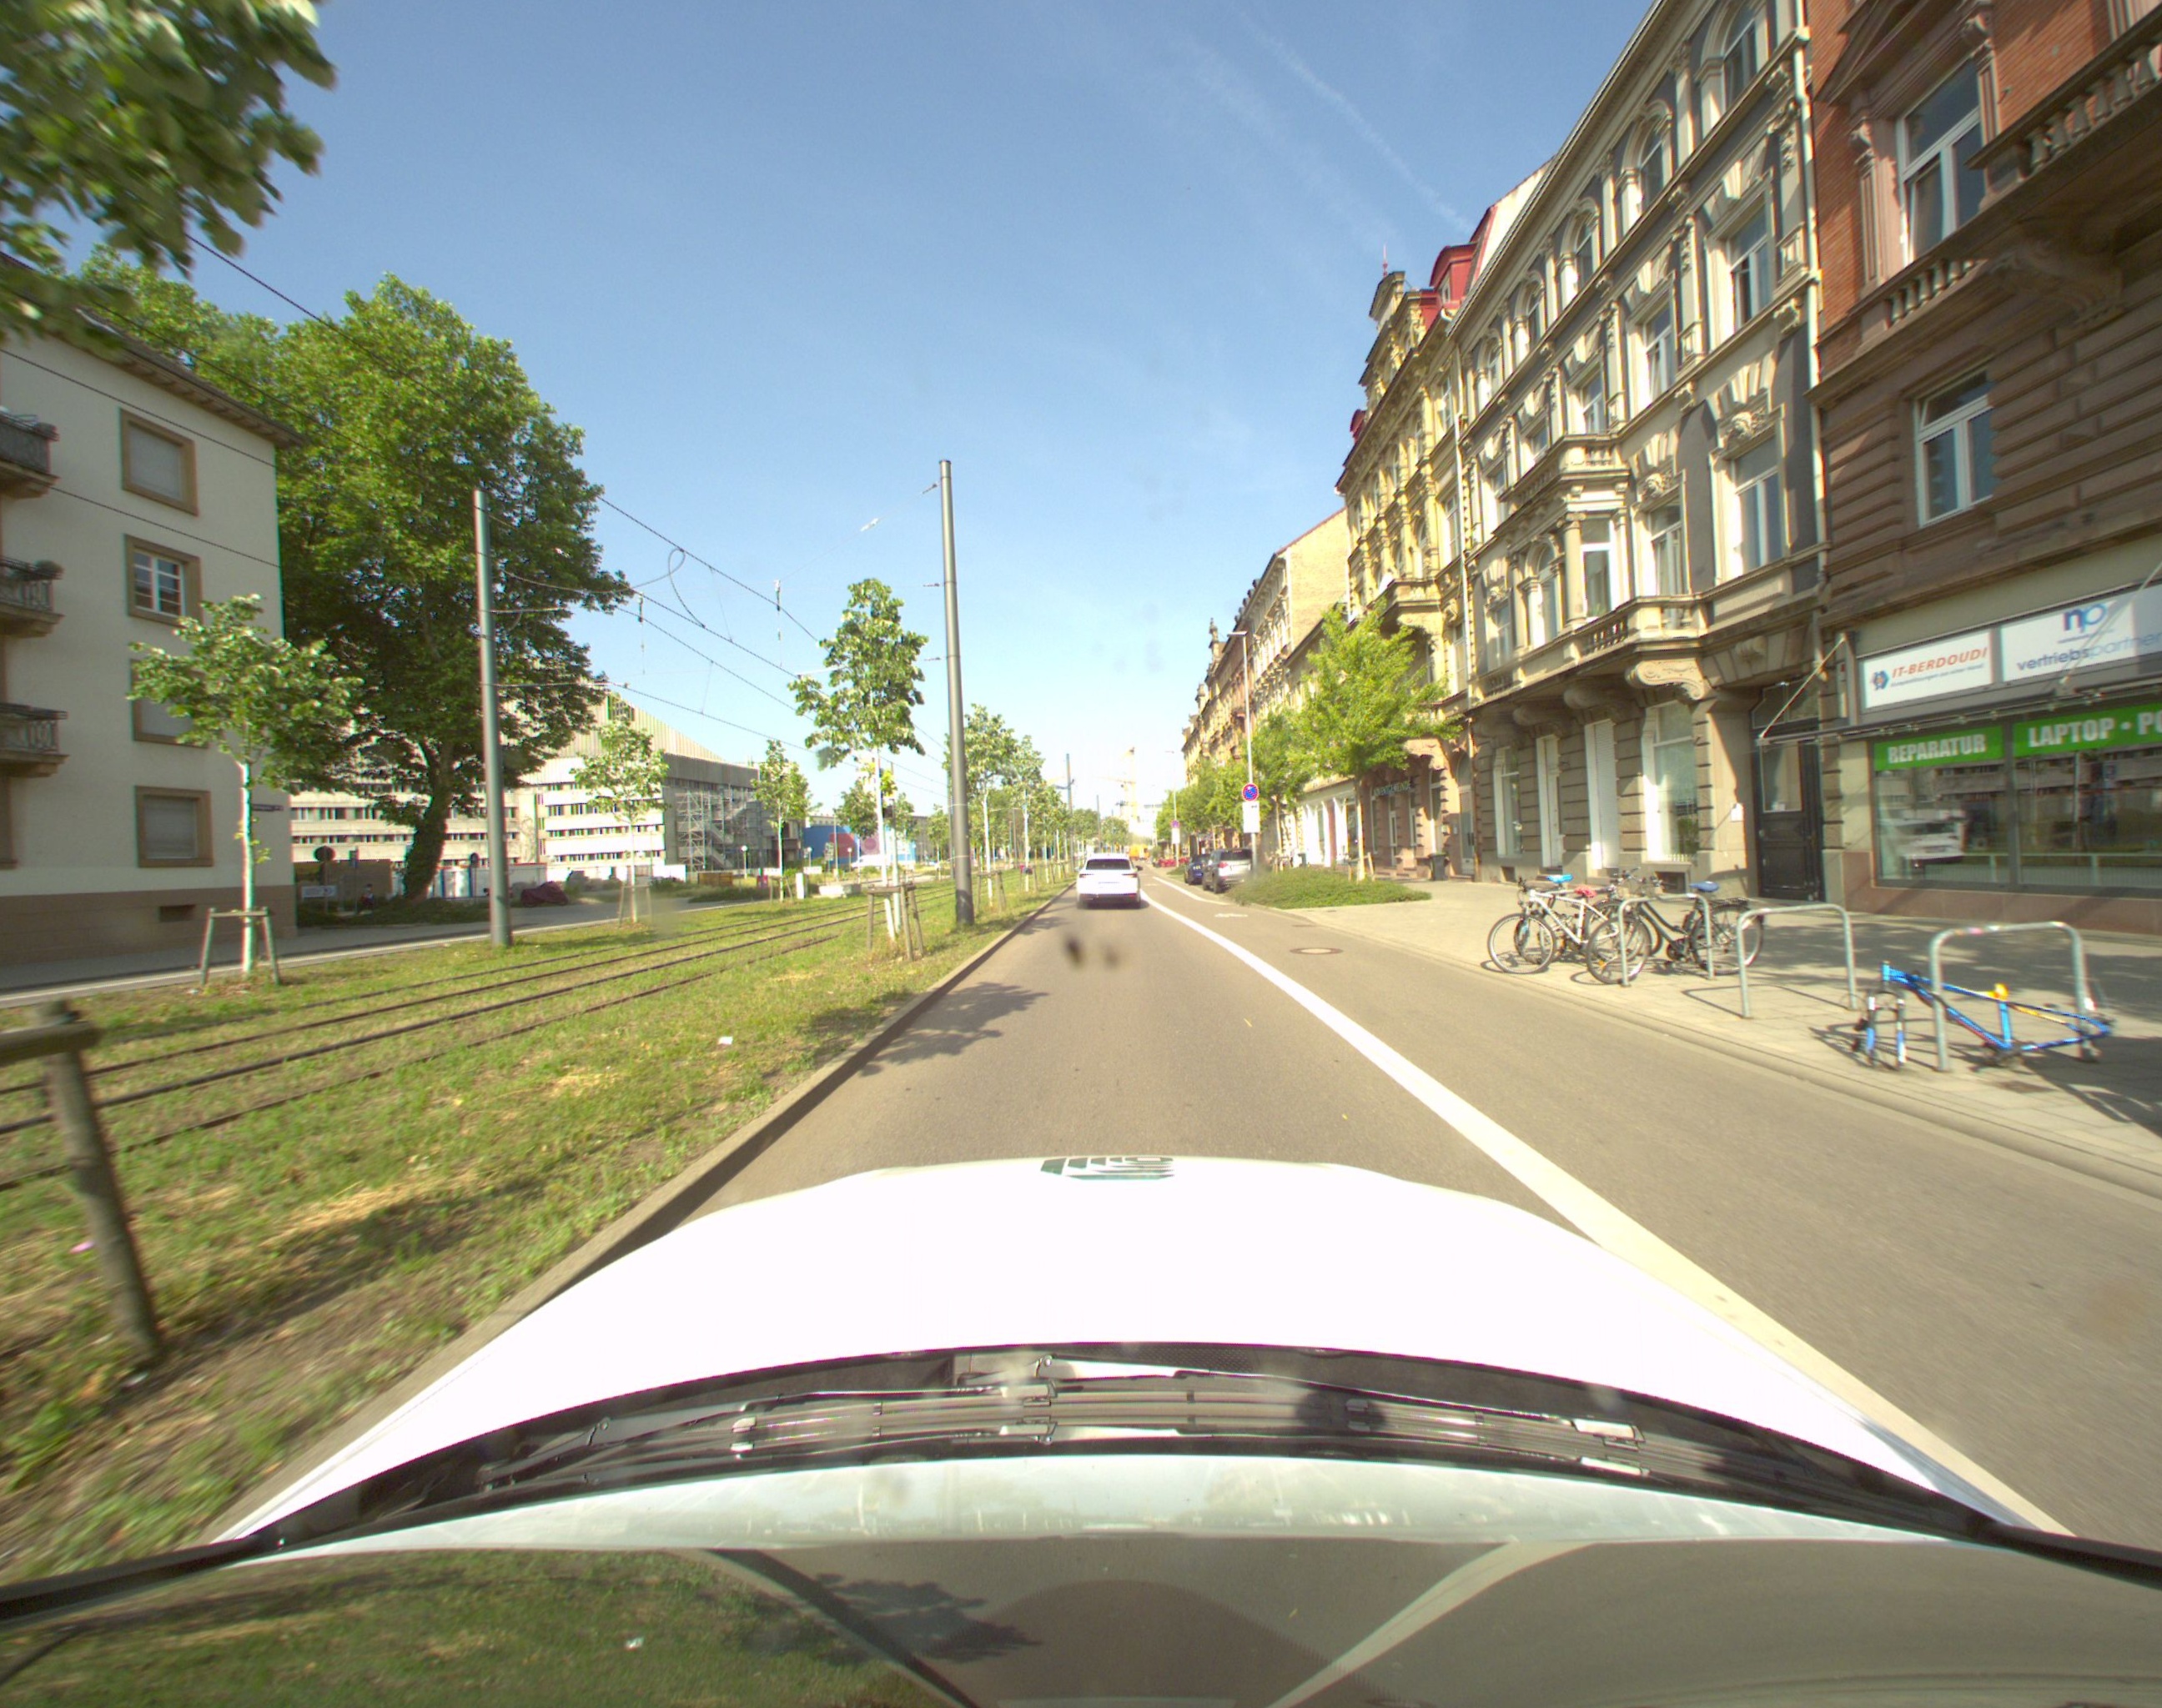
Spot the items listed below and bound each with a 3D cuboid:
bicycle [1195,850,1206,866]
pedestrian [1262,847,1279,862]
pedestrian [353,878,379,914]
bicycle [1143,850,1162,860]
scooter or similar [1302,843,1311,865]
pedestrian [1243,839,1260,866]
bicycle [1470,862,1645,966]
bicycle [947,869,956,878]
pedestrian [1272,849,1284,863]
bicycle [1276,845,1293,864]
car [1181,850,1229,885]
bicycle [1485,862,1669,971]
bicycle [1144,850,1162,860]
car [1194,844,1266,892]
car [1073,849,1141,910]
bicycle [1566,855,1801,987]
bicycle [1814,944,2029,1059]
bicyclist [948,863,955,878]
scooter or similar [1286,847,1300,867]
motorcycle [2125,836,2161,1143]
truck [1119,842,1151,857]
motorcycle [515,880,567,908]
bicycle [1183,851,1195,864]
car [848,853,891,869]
[{"bbox_3d":[9.064,0.300,61.910,0.501,1.060,1.721,-5,1,17],"label":"bicycle"},{"bbox_3d":[12.475,0.038,53.693,0.875,0.876,0.711,-5,0,-1],"label":"pedestrian"},{"bbox_3d":[-35.127,2.047,40.031,0.738,1.677,0.671,-3,0,-24],"label":"pedestrian"},{"bbox_3d":[9.067,0.142,103.052,2.229,1.104,0.589,-5,0,3],"label":"bicycle"},{"bbox_3d":[12.221,-0.011,44.160,0.287,1.134,1.091,-3,0,8],"label":"scooter or similar"},{"bbox_3d":[11.040,-0.095,52.708,0.821,1.696,0.792,-5,0,-2],"label":"pedestrian"},{"bbox_3d":[5.596,0.695,9.597,1.779,1.054,0.373,-5,0,0],"label":"bicycle"},{"bbox_3d":[-15.582,2.346,98.220,0.659,0.961,2.079,-4,0,2],"label":"bicycle"},{"bbox_3d":[12.571,0.148,51.993,0.569,0.854,0.457,-5,0,-4],"label":"pedestrian"},{"bbox_3d":[12.274,0.023,49.102,0.450,1.083,1.445,-3,0,-7],"label":"bicycle"},{"bbox_3d":[5.785,0.571,38.328,1.729,1.396,4.719,-4,0,4],"label":"car"},{"bbox_3d":[5.577,0.694,9.195,1.779,1.054,0.373,-5,0,0],"label":"bicycle"},{"bbox_3d":[9.117,0.144,103.606,2.229,1.104,0.519,-5,0,3],"label":"bicycle"},{"bbox_3d":[5.559,0.490,30.861,1.764,1.588,4.245,-4,0,-1],"label":"car"},{"bbox_3d":[0.804,0.688,24.546,1.810,1.590,4.409,-2,0,2],"label":"car"},{"bbox_3d":[5.903,0.633,8.034,1.803,1.096,0.671,-5,0,-4],"label":"bicycle"},{"bbox_3d":[5.414,0.946,5.272,0.954,0.609,0.361,-4,0,3],"label":"bicycle"},{"bbox_3d":[-15.606,1.952,98.151,0.644,1.736,0.919,-4,-1,2],"label":"bicyclist"},{"bbox_3d":[12.422,0.153,47.746,0.605,1.125,0.932,-3,0,2],"label":"scooter or similar"},{"bbox_3d":[5.803,0.566,3.946,2.049,1.286,0.698,-5,1,-33],"label":"motorcycle"},{"bbox_3d":[9.068,-0.728,137.111,2.228,2.318,5.831,-3,0,-31],"label":"truck"},{"bbox_3d":[-29.548,2.188,44.596,2.307,1.369,0.809,-3,0,-35],"label":"motorcycle"},{"bbox_3d":[9.235,0.291,69.819,0.594,1.122,1.923,-3,0,-4],"label":"bicycle"},{"bbox_3d":[-36.223,1.214,139.509,6.895,2.638,2.498,0,0,-19],"label":"car"}]
